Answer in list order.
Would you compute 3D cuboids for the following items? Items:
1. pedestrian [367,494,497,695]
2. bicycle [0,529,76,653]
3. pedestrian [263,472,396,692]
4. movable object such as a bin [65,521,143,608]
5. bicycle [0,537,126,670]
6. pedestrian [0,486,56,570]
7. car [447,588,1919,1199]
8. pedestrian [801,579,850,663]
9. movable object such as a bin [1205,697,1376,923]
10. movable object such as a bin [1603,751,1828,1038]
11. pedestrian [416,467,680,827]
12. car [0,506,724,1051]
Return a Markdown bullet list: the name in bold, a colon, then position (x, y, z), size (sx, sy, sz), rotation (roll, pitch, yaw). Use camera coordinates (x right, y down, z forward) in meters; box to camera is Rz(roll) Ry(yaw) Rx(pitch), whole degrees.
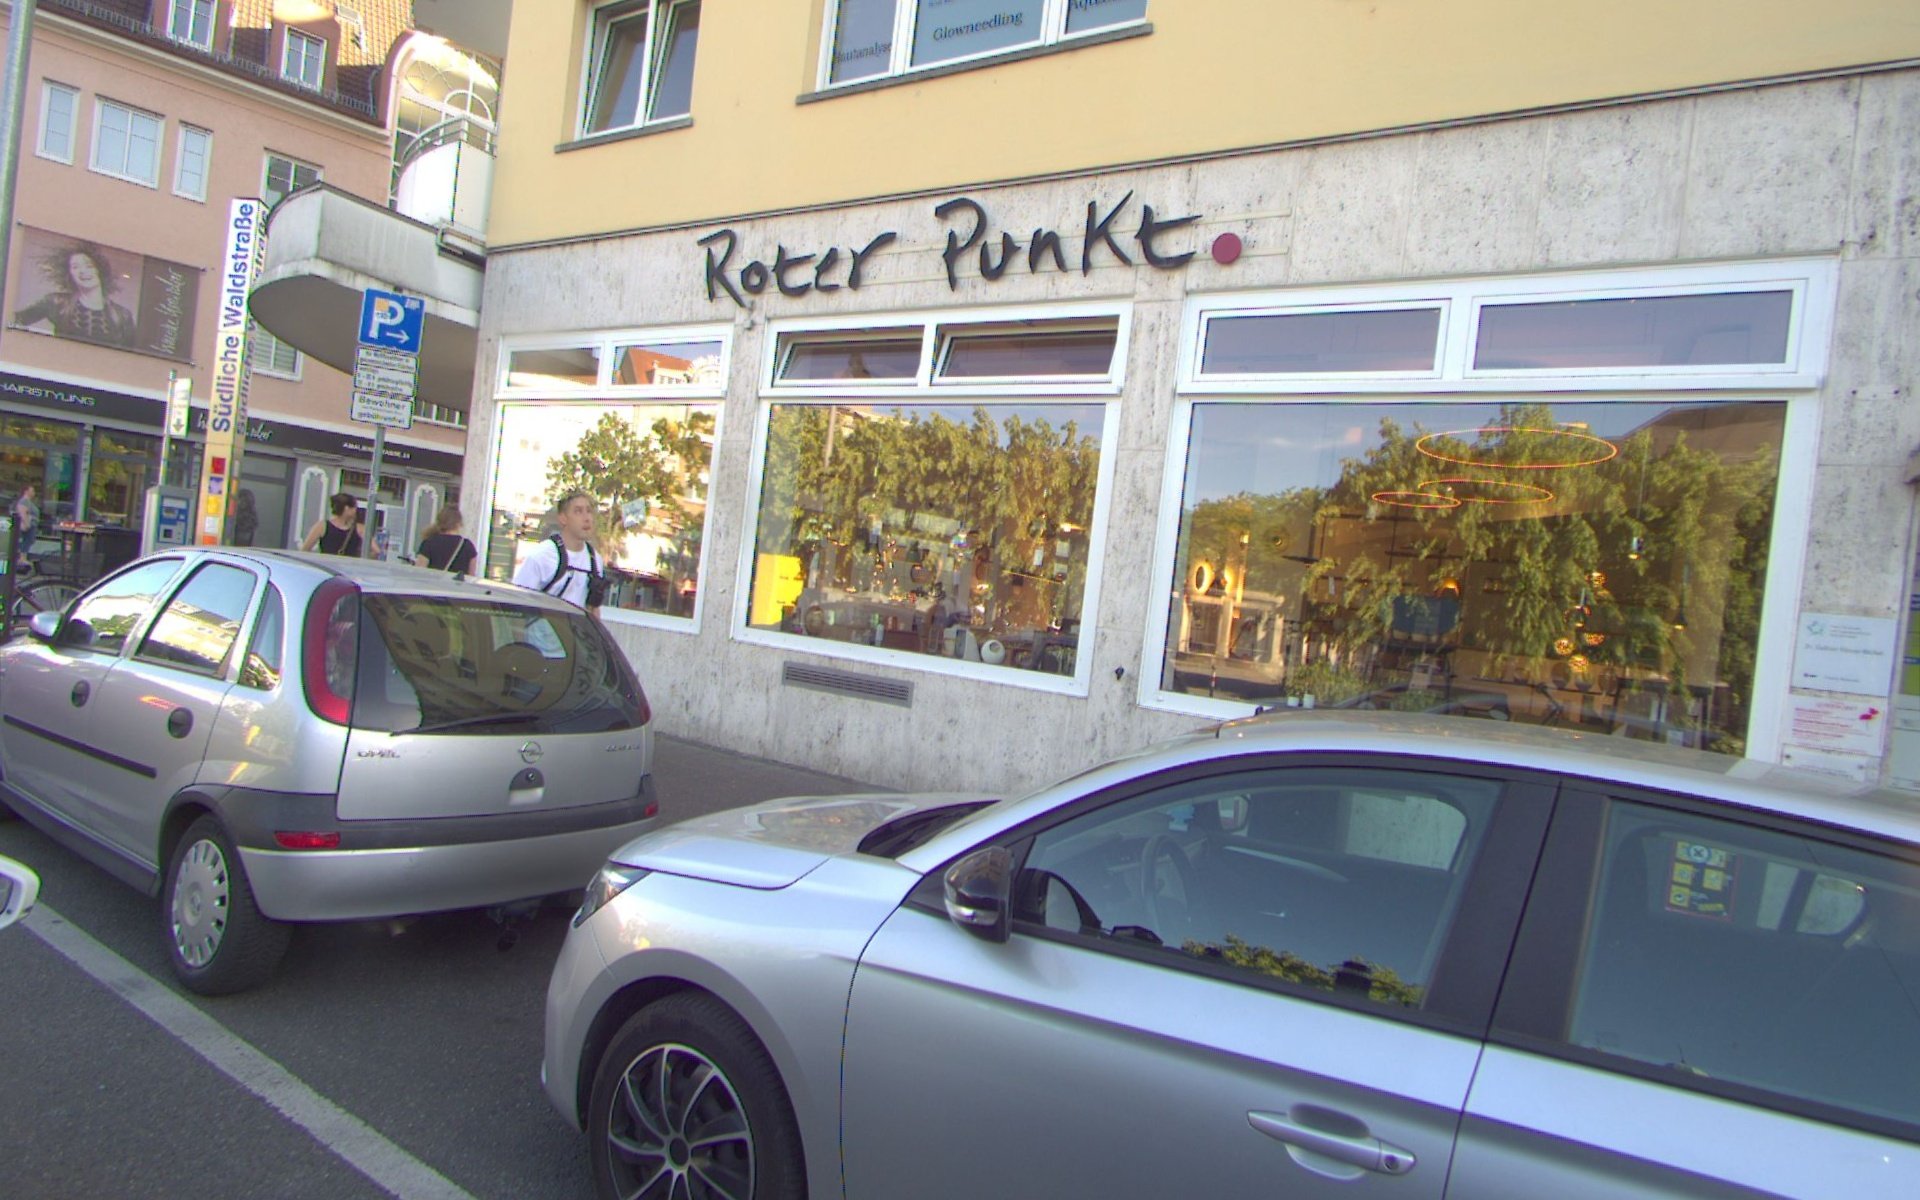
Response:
- **pedestrian**: position (-4.978, -0.054, 9.489), size (0.775, 1.777, 0.721), rotation (6, 2, 36)
- **bicycle**: position (-9.066, -0.153, 8.802), size (0.642, 1.072, 1.816), rotation (7, -1, 33)
- **pedestrian**: position (-5.710, -0.168, 9.105), size (0.880, 1.874, 0.679), rotation (6, 3, 38)
- **movable object such as a bin**: position (-11.967, -0.490, 14.069), size (0.716, 1.117, 0.636), rotation (7, 2, 35)
- **bicycle**: position (-8.175, 0.001, 8.257), size (0.642, 1.057, 1.884), rotation (7, 0, 33)
- **pedestrian**: position (-18.947, -1.455, 20.391), size (0.781, 1.567, 0.720), rotation (6, -1, 42)
- **car**: position (0.770, 0.941, 2.285), size (3.624, 1.453, 1.587), rotation (6, -2, 30)
- **pedestrian**: position (-3.207, 0.495, 23.966), size (0.778, 1.895, 0.718), rotation (4, 2, -31)
- **movable object such as a bin**: position (1.814, 1.095, 5.481), size (0.639, 1.035, 0.738), rotation (6, -1, 31)
- **movable object such as a bin**: position (3.363, 1.263, 4.551), size (0.639, 1.035, 0.738), rotation (6, -1, 31)
- **pedestrian**: position (-2.344, 0.242, 5.751), size (0.967, 1.844, 0.809), rotation (6, -1, 35)
- **car**: position (-2.967, 0.482, 4.465), size (3.520, 1.442, 1.587), rotation (6, -2, 32)
